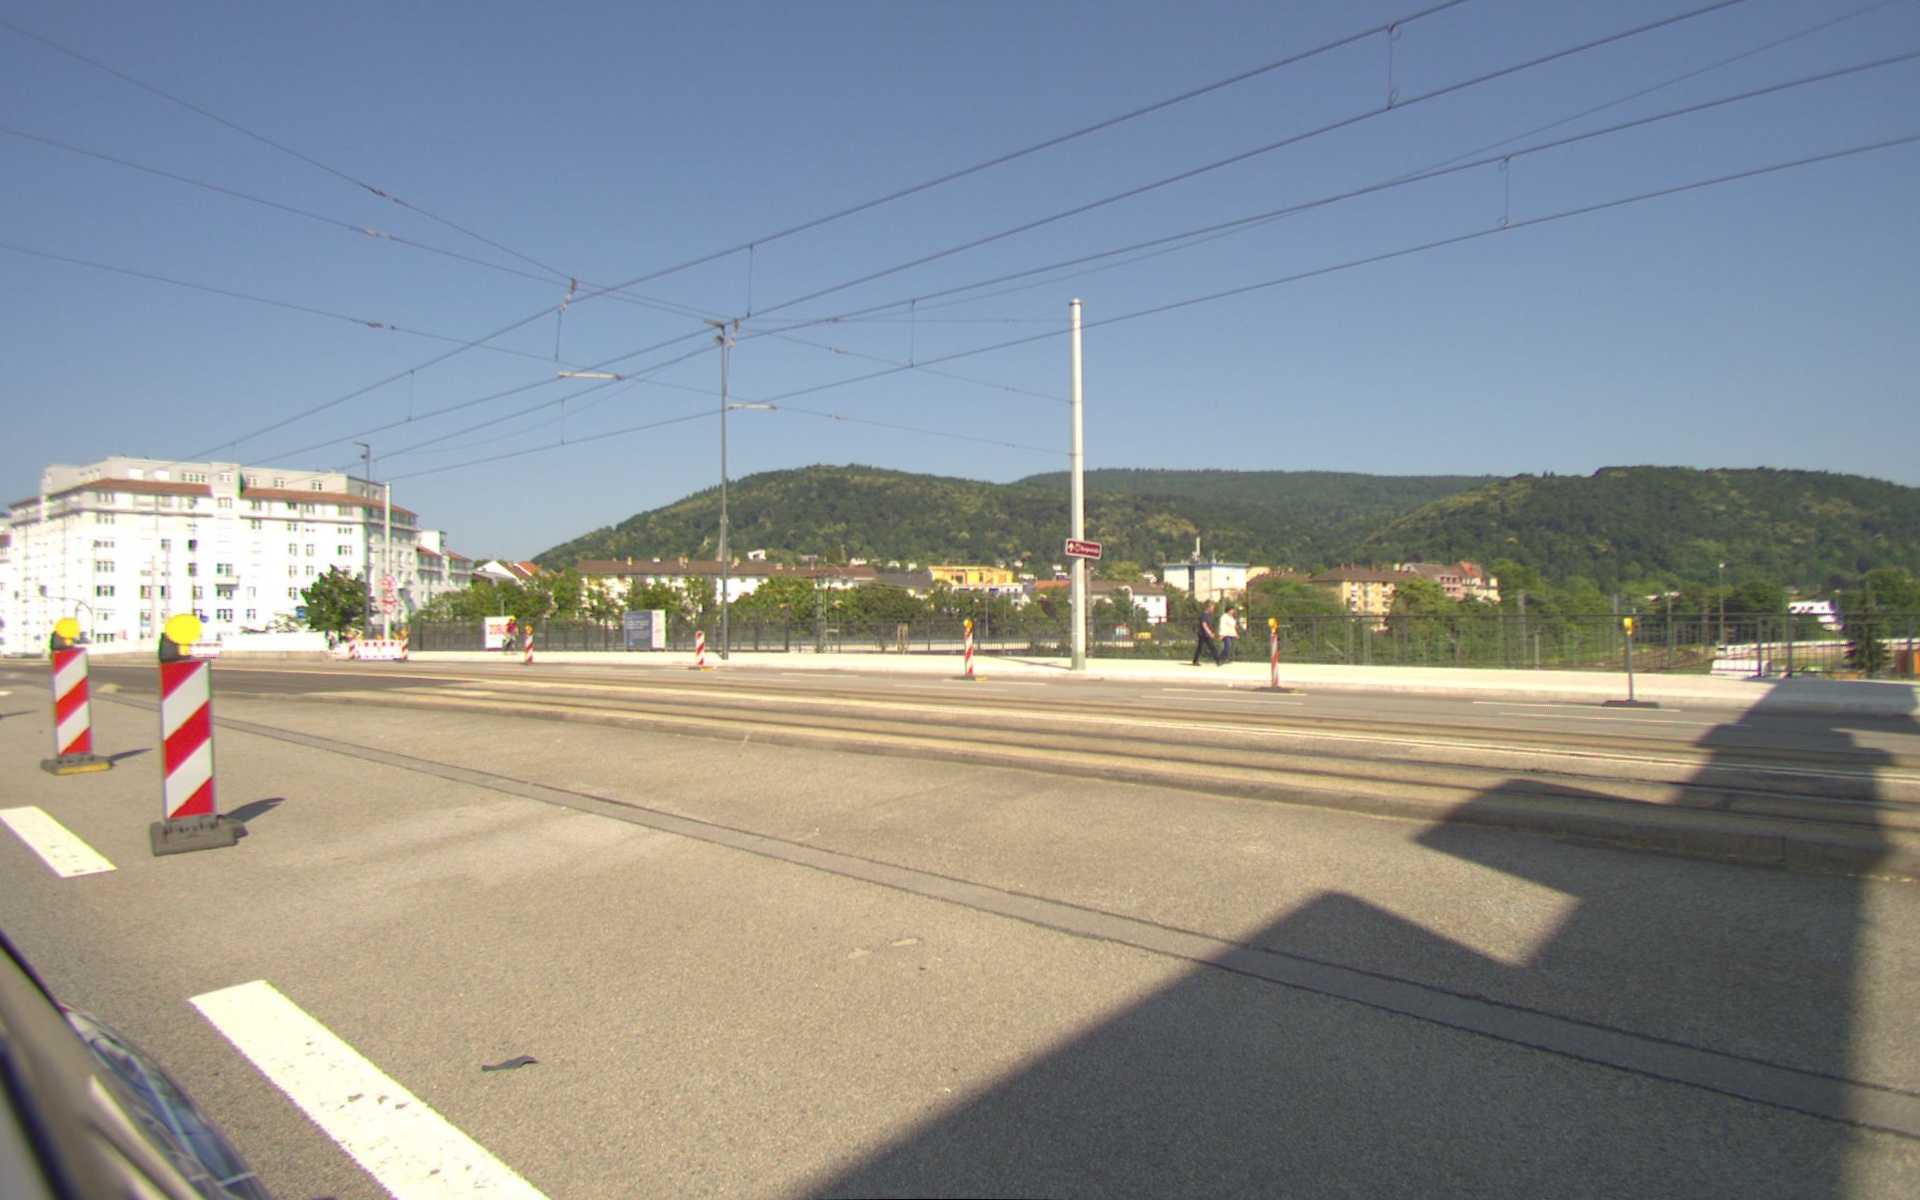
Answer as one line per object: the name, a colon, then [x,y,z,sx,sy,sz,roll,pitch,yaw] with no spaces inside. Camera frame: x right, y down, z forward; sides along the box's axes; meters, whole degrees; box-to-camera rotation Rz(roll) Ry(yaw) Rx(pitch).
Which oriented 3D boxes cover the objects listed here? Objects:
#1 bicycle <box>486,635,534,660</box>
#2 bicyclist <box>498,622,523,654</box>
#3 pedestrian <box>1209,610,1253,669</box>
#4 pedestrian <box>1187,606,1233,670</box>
bicycle: [-22.521,2.377,50.610,3.069,1.204,0.847,-2,-1,39]
bicyclist: [-22.464,1.894,50.556,0.816,1.530,0.847,-2,-1,39]
pedestrian: [7.380,1.072,27.600,0.888,1.556,0.712,-2,0,40]
pedestrian: [6.663,1.002,26.996,0.894,1.654,0.736,-2,0,40]
